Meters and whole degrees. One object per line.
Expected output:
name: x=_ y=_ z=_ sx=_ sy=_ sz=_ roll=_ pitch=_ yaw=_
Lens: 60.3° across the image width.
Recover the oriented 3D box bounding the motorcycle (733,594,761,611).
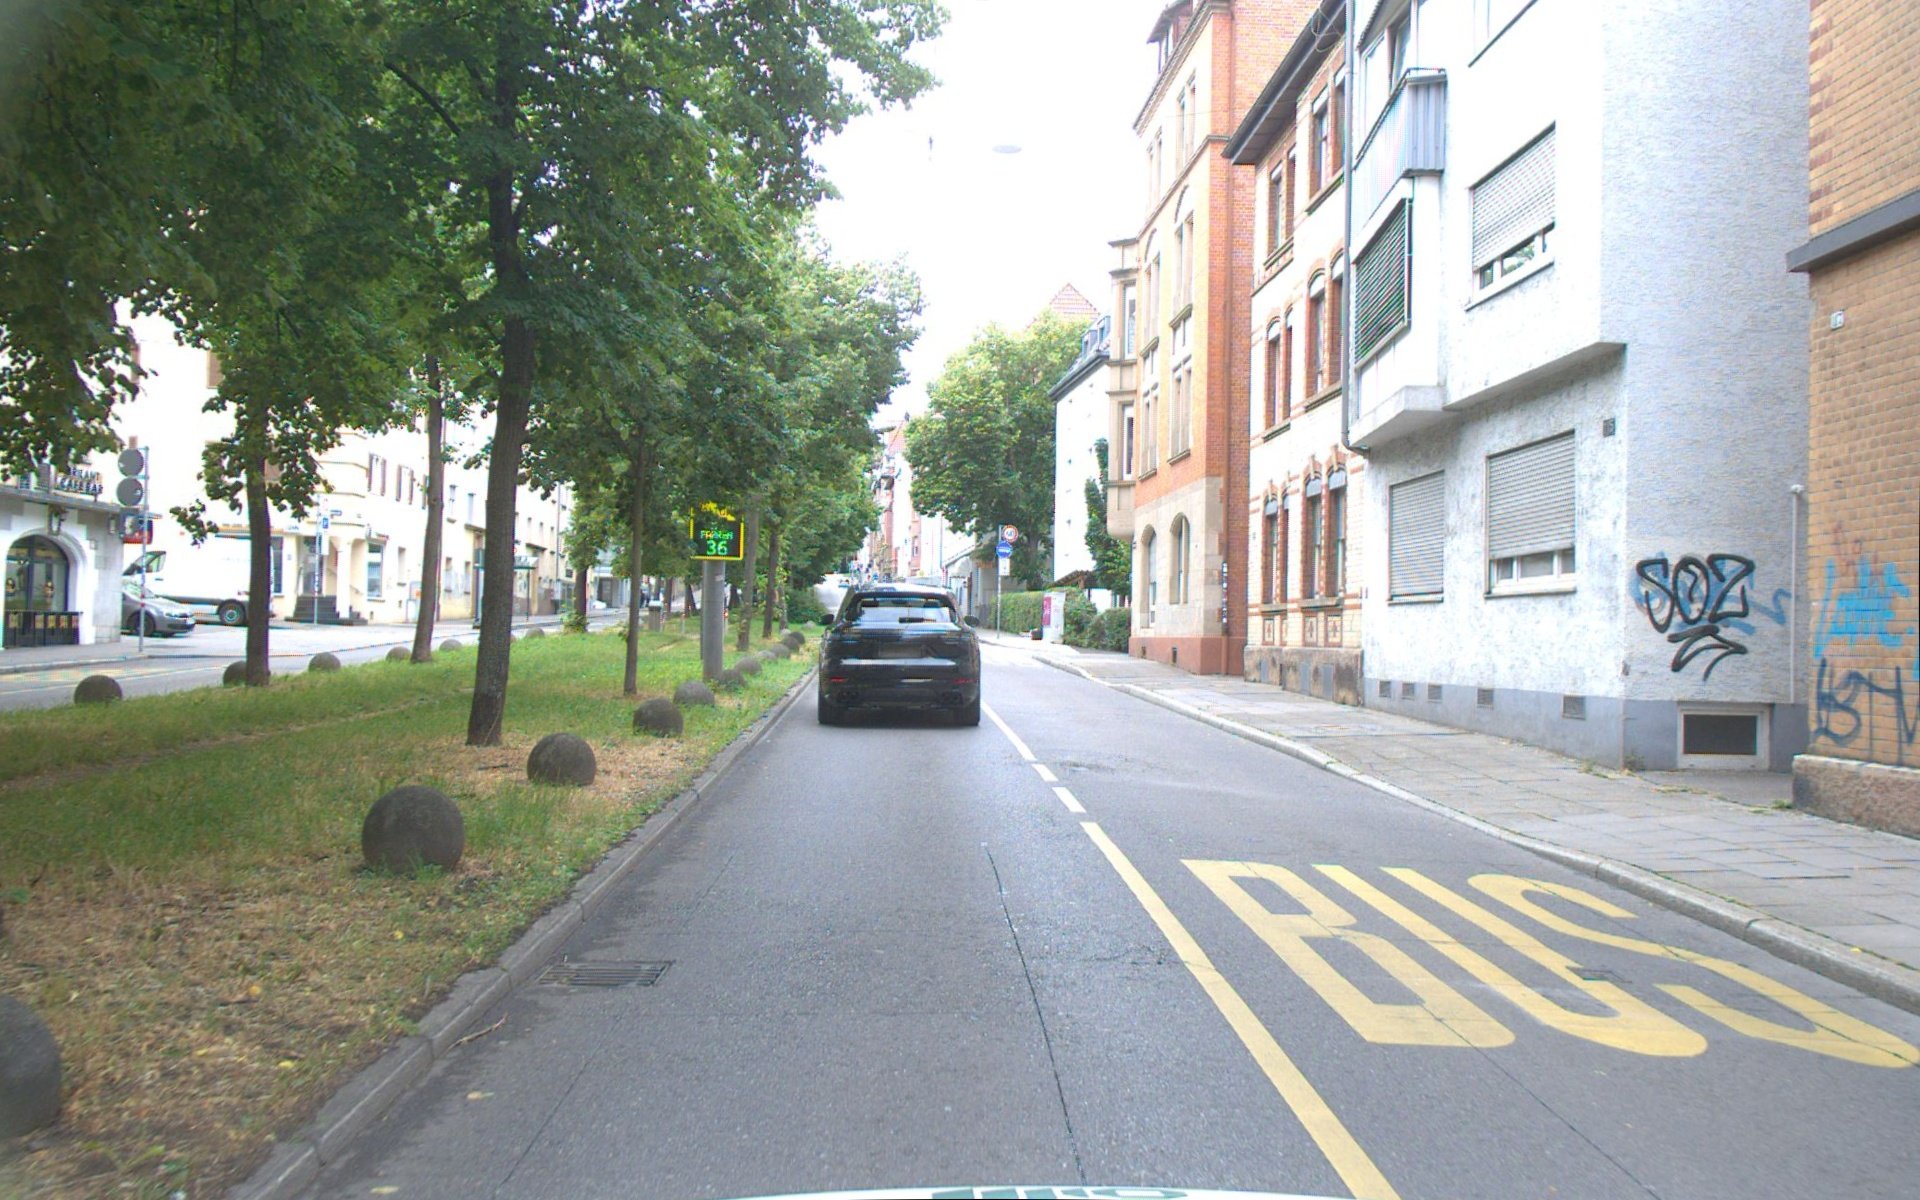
motorcycle: x=-18.111 y=0.203 z=140.829 sx=2.336 sy=1.340 sz=1.044 roll=1 pitch=0 yaw=-7

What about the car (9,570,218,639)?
car: x=-21.668 y=0.099 z=42.481 sx=4.203 sy=1.444 sz=2.047 roll=4 pitch=1 yaw=-3

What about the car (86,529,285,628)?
car: x=-23.821 y=-0.648 z=51.069 sx=5.083 sy=2.784 sz=2.170 roll=2 pitch=0 yaw=-13

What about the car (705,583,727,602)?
car: x=-23.865 y=-0.755 z=161.821 sx=1.912 sy=1.656 sz=4.359 roll=-5 pitch=0 yaw=-6

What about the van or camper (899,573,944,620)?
van or camper: x=-2.476 y=-0.216 z=104.902 sx=2.431 sy=2.852 sz=7.231 roll=1 pitch=0 yaw=-4

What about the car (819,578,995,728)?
car: x=-0.772 y=0.612 z=20.988 sx=1.867 sy=1.695 sz=4.129 roll=1 pitch=0 yaw=-7
